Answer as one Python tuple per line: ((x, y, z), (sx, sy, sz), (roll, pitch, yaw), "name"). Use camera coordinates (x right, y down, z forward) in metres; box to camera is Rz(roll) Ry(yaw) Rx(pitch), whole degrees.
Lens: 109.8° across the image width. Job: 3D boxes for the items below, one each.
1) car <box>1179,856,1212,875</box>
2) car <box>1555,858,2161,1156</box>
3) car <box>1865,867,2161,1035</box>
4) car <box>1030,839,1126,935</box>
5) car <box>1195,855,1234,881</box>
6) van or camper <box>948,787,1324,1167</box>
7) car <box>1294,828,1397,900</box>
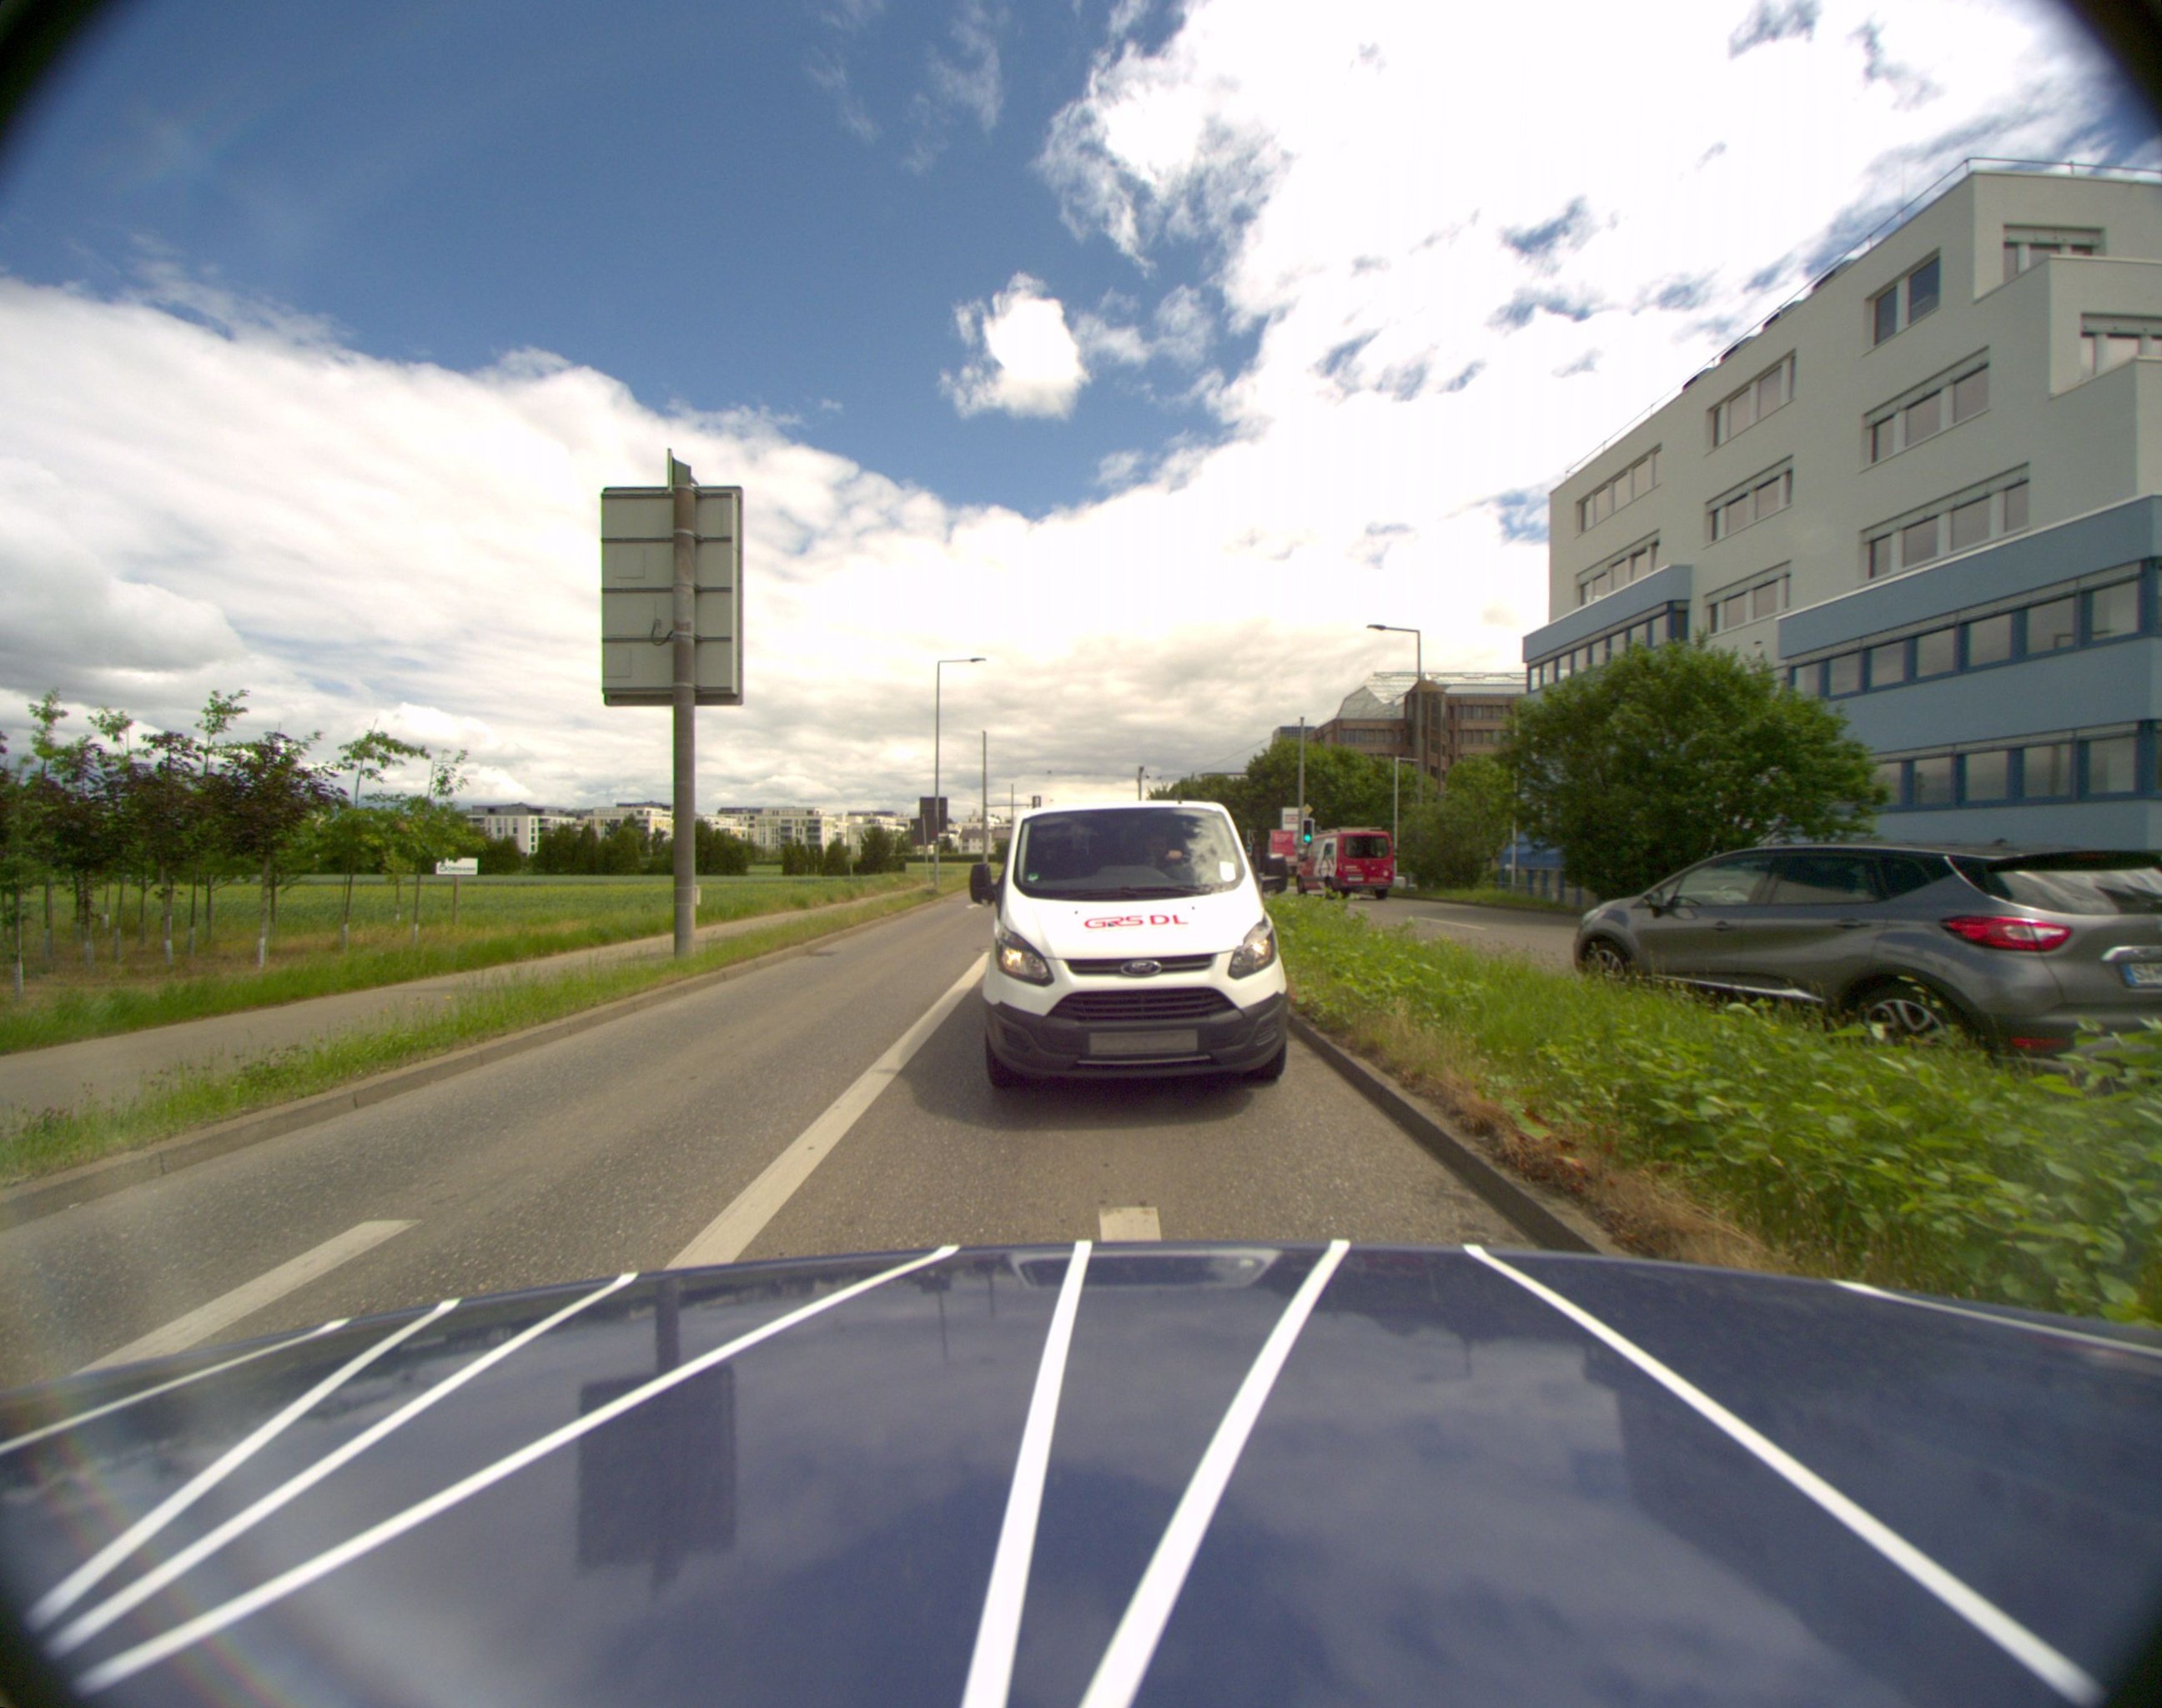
((8.832, 0.842, 58.699), (1.937, 1.390, 4.000), (-1, 0, 0), "car")
((5.979, 0.800, 5.961), (1.940, 1.508, 3.999), (-1, 0, -2), "car")
((10.012, 0.826, 6.751), (1.998, 1.346, 4.000), (-1, 0, 1), "car")
((-0.030, 0.676, 17.942), (1.998, 2.002, 4.000), (0, 0, 1), "car")
((7.914, 0.797, 45.345), (1.683, 1.473, 4.000), (-1, 0, 0), "car")
((0.187, 0.652, 6.935), (1.999, 2.002, 5.798), (0, 0, -2), "van or camper")
((9.541, 0.329, 27.922), (1.998, 2.398, 5.240), (0, 0, 0), "car")
